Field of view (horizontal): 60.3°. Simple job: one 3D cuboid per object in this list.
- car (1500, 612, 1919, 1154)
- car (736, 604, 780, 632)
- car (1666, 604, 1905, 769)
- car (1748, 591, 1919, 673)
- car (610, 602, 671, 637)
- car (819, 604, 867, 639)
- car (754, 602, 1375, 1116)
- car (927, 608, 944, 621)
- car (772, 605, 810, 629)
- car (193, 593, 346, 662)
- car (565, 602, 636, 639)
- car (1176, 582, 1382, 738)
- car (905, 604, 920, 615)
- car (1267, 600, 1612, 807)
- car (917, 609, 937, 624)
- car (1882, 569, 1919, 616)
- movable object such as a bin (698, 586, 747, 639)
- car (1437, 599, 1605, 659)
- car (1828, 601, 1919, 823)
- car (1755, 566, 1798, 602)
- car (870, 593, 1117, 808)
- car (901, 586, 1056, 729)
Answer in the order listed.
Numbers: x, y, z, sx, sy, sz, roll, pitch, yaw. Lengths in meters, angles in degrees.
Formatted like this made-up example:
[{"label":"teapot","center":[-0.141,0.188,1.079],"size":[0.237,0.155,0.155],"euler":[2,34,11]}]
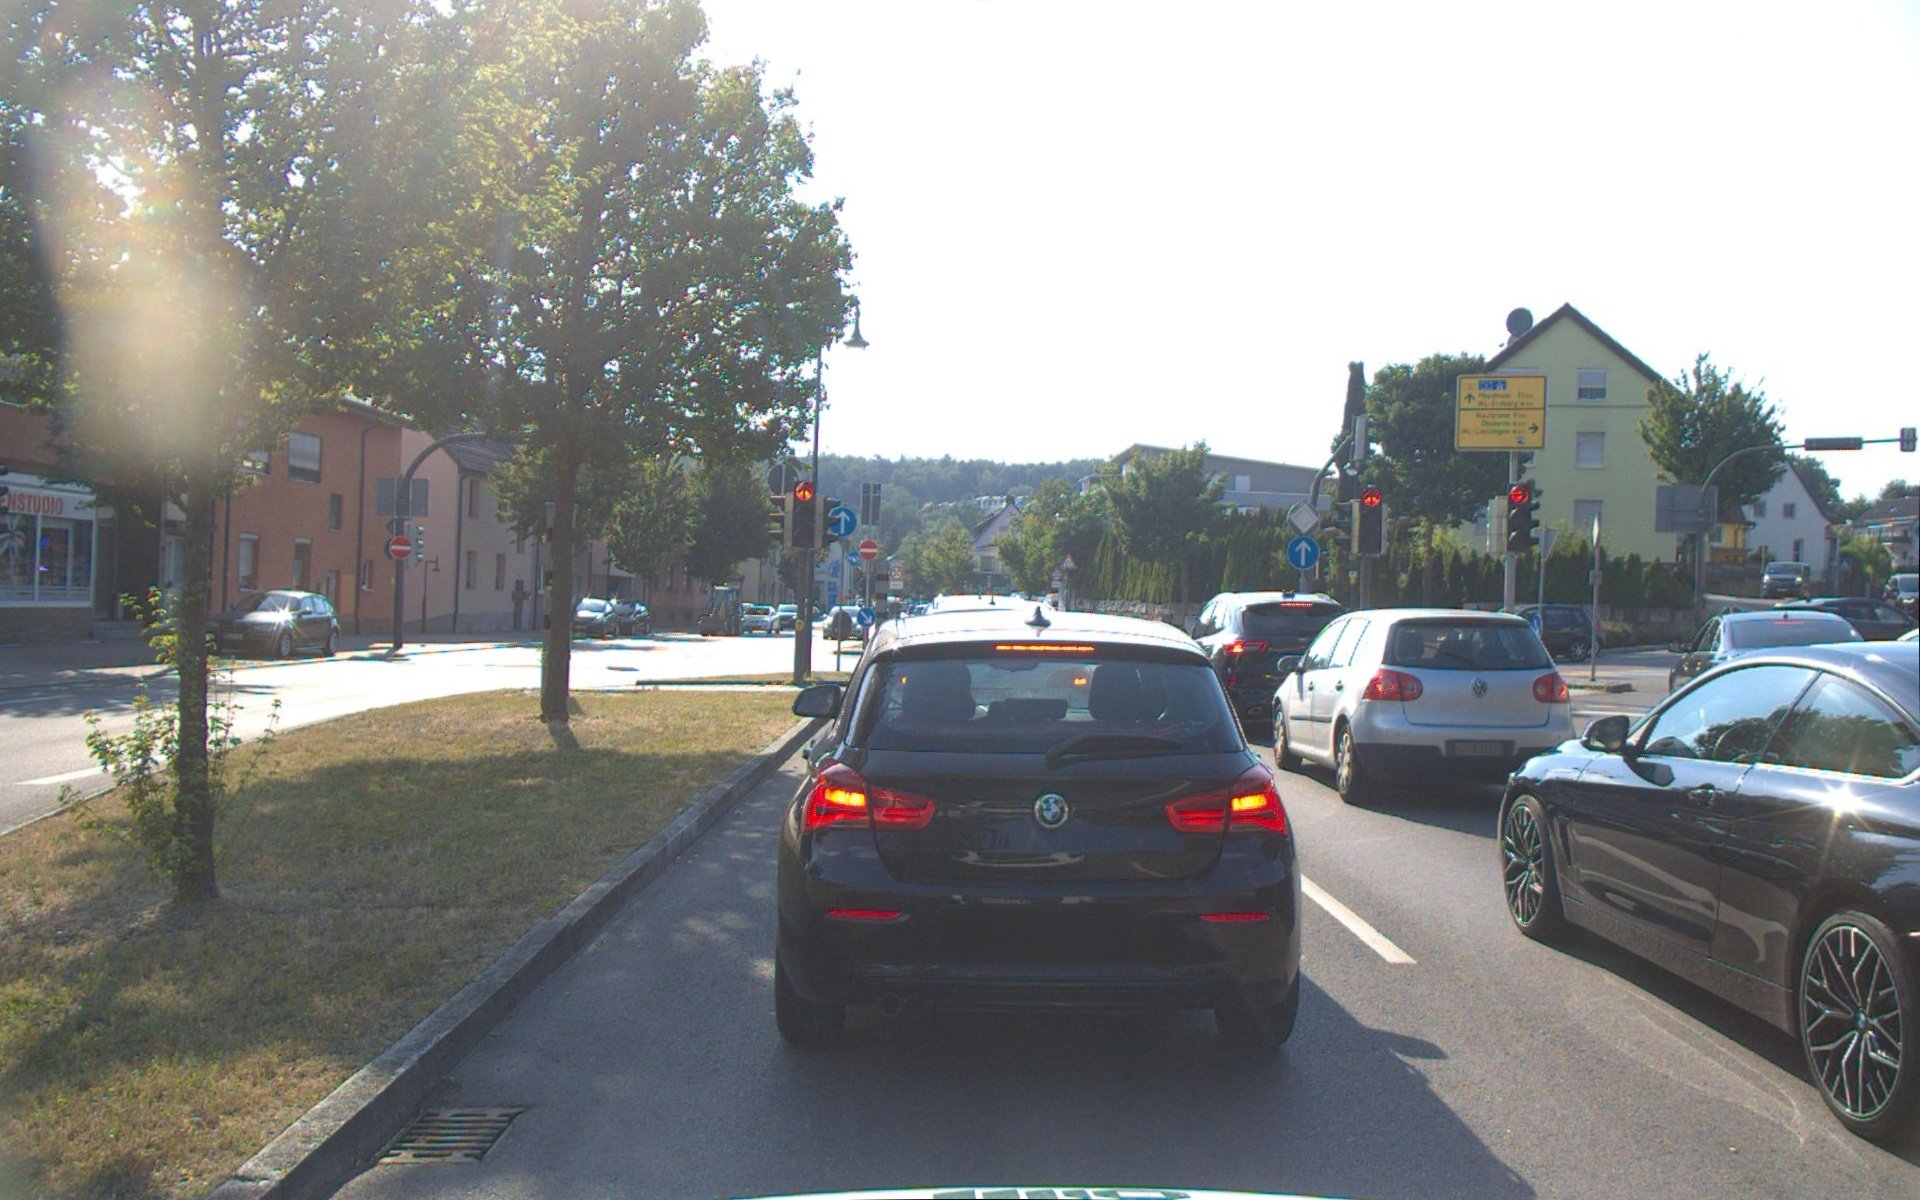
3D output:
[{"label":"car","center":[3.469,0.784,5.816],"size":[1.725,1.422,4.280],"euler":[-1,0,0]},{"label":"car","center":[-11.062,0.988,90.615],"size":[1.701,1.323,3.800],"euler":[5,0,2]},{"label":"car","center":[9.043,0.853,18.457],"size":[1.621,1.569,4.401],"euler":[-1,0,17]},{"label":"car","center":[19.560,0.658,35.998],"size":[4.133,1.709,1.962],"euler":[0,0,-16]},{"label":"car","center":[-14.110,0.843,73.184],"size":[1.701,1.323,4.001],"euler":[5,0,2]},{"label":"car","center":[-5.350,0.947,75.795],"size":[1.801,1.508,4.001],"euler":[1,0,1]},{"label":"car","center":[0.294,0.735,6.836],"size":[1.751,1.422,4.280],"euler":[-1,0,0]},{"label":"car","center":[-2.875,1.700,194.332],"size":[1.701,1.323,3.800],"euler":[5,0,2]},{"label":"car","center":[-10.569,1.054,103.624],"size":[1.701,1.323,3.800],"euler":[5,0,2]},{"label":"car","center":[-15.475,0.576,37.289],"size":[1.702,1.323,3.999],"euler":[5,0,-1]},{"label":"car","center":[-14.502,0.810,66.903],"size":[1.701,1.323,4.001],"euler":[5,0,3]},{"label":"car","center":[3.743,0.649,20.054],"size":[1.725,1.685,3.902],"euler":[-1,0,0]},{"label":"car","center":[-6.639,1.316,230.163],"size":[1.701,1.323,3.800],"euler":[5,0,2]},{"label":"car","center":[3.790,0.740,13.772],"size":[1.725,1.451,3.902],"euler":[-1,0,0]},{"label":"car","center":[-3.391,1.699,170.705],"size":[1.701,1.323,3.800],"euler":[5,0,2]},{"label":"car","center":[35.278,-0.258,61.033],"size":[1.805,1.670,4.428],"euler":[1,0,24]},{"label":"movable object such as a bin","center":[-11.405,0.579,79.584],"size":[1.701,2.485,4.449],"euler":[0,0,0]},{"label":"car","center":[15.165,0.765,44.831],"size":[3.907,1.515,1.847],"euler":[1,0,-3]},{"label":"car","center":[7.619,0.798,11.624],"size":[1.583,1.569,3.320],"euler":[-1,0,6]},{"label":"car","center":[42.130,-0.831,85.415],"size":[1.805,1.770,4.781],"euler":[1,0,24]},{"label":"car","center":[0.235,0.715,13.980],"size":[1.751,1.520,4.280],"euler":[-1,0,0]},{"label":"car","center":[0.205,0.649,21.021],"size":[1.751,1.622,4.280],"euler":[-1,0,0]}]
